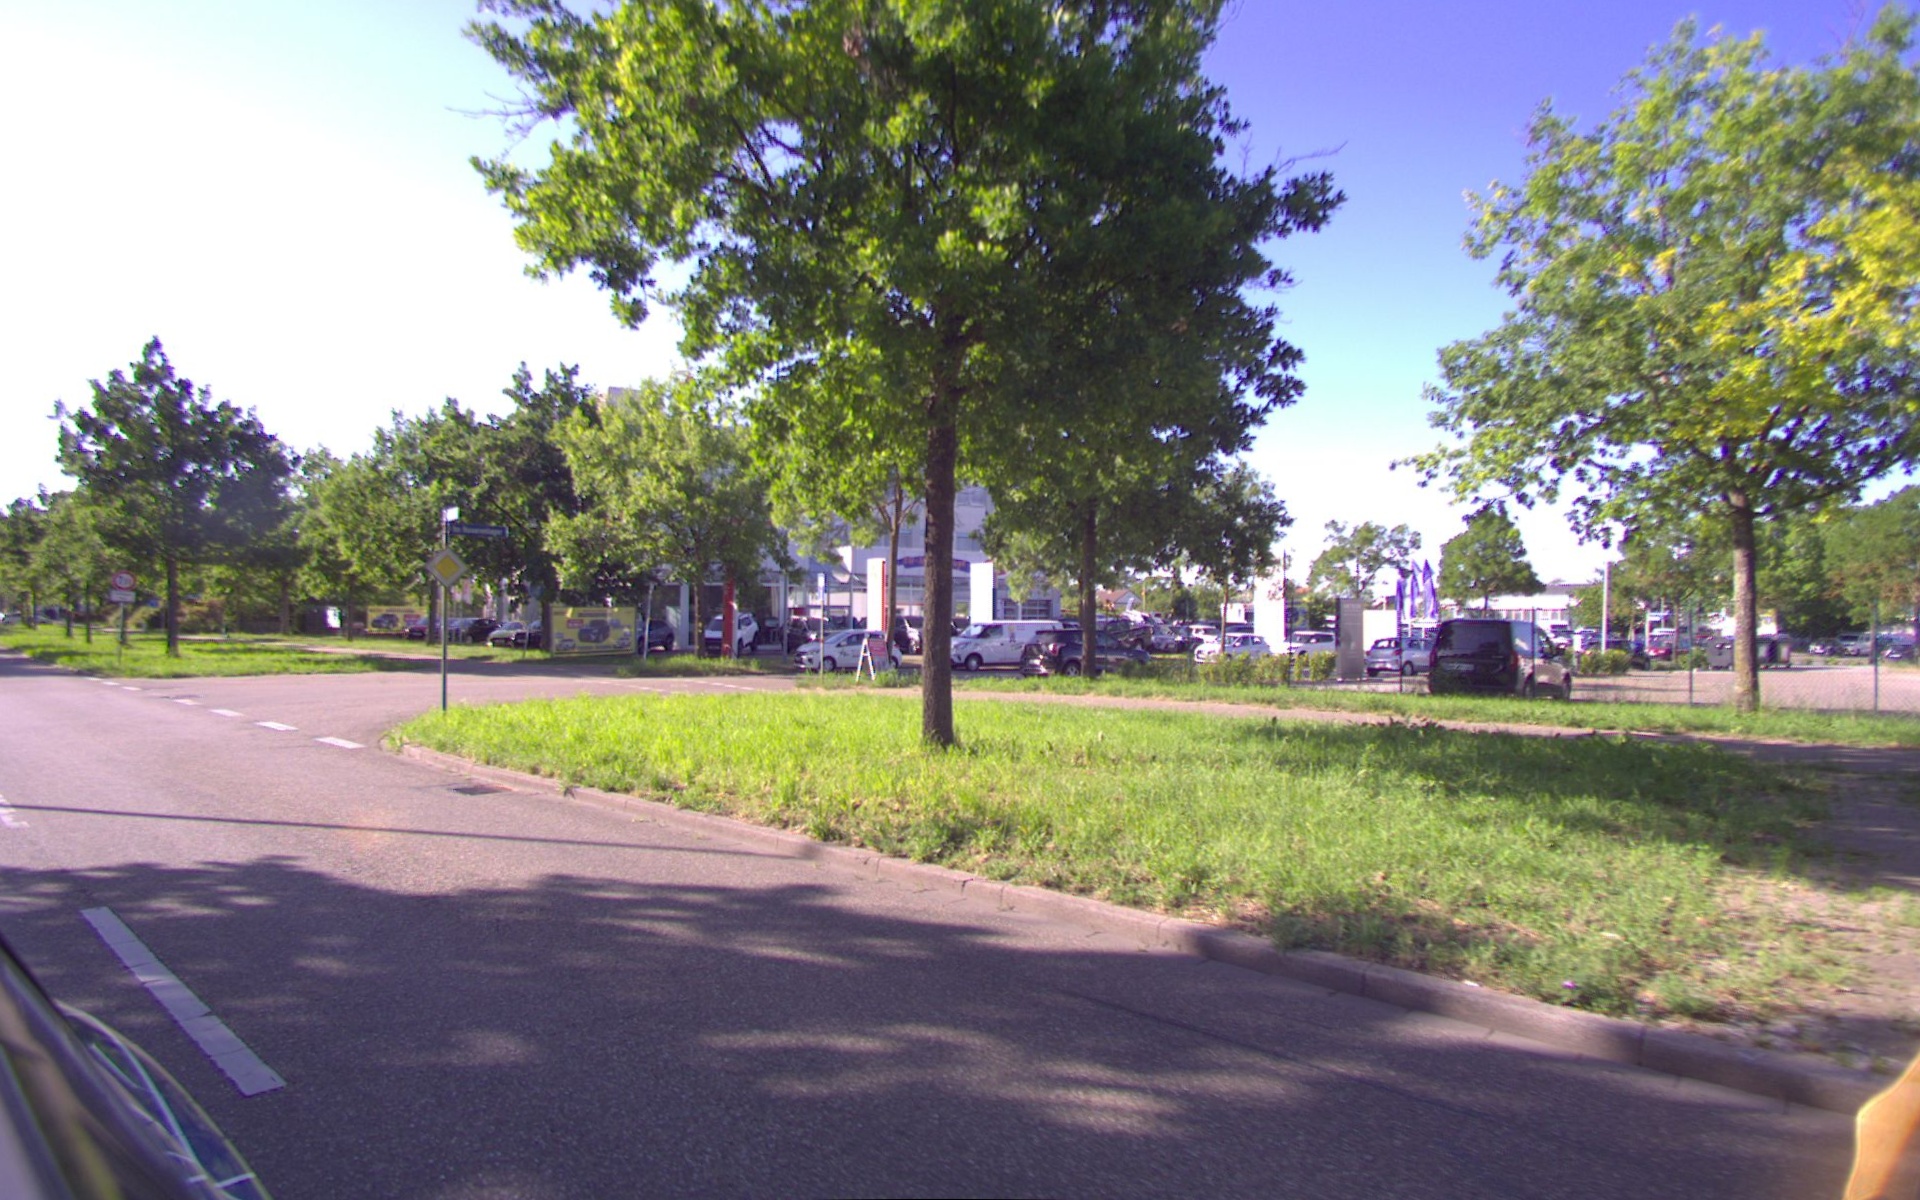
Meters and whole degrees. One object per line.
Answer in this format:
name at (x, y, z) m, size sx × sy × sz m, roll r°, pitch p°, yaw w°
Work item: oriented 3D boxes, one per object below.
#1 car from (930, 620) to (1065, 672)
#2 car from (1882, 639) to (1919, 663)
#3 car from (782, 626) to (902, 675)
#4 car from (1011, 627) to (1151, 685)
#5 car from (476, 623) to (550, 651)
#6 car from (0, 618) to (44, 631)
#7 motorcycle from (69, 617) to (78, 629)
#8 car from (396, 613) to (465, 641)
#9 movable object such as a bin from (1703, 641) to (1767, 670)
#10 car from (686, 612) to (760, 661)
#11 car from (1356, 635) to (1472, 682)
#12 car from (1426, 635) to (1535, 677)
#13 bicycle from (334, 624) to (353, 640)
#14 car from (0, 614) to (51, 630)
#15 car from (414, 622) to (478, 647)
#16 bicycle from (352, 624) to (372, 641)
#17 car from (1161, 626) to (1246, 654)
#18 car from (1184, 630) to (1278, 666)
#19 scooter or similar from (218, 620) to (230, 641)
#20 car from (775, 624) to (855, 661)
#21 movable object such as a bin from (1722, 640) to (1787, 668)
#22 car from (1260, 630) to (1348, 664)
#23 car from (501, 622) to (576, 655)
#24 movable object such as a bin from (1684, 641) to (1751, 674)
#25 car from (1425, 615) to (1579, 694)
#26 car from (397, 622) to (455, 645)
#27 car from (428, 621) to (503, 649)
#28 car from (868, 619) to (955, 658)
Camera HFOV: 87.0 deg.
car at (1.494, 1.746, 39.209) m, size 4.940 × 1.921 × 1.947 m, roll 1°, pitch -2°, yaw -30°
car at (62.612, 3.337, 66.400) m, size 3.930 × 1.523 × 1.807 m, roll 1°, pitch -2°, yaw -27°
car at (-4.132, 1.741, 35.497) m, size 3.691 × 1.630 × 1.969 m, roll 1°, pitch -2°, yaw -34°
car at (3.479, 1.551, 28.957) m, size 3.619 × 1.544 × 1.827 m, roll 1°, pitch -2°, yaw -32°
car at (-23.232, 1.895, 52.797) m, size 1.973 × 1.412 × 3.950 m, roll 0°, pitch -1°, yaw 2°
car at (-112.465, 2.919, 120.945) m, size 4.359 × 1.568 × 2.091 m, roll -1°, pitch -1°, yaw -42°
motorcycle at (-108.735, 2.836, 124.193) m, size 0.729 × 1.443 × 1.993 m, roll -3°, pitch 1°, yaw -43°
car at (-36.201, 1.853, 69.167) m, size 3.963 × 1.797 × 2.030 m, roll -1°, pitch -1°, yaw -35°
movable object such as a bin at (32.780, 2.340, 42.833) m, size 1.467 × 1.152 × 1.652 m, roll 1°, pitch -2°, yaw -28°
car at (-10.450, 1.590, 44.982) m, size 1.973 × 2.029 × 4.855 m, roll 0°, pitch -1°, yaw 2°
car at (16.888, 2.135, 37.634) m, size 3.930 × 1.588 × 1.807 m, roll 0°, pitch -2°, yaw -27°
car at (20.568, 2.193, 39.990) m, size 3.930 × 1.523 × 1.807 m, roll 0°, pitch -2°, yaw -27°
bicycle at (-41.959, 2.185, 68.919) m, size 1.892 × 1.096 × 0.632 m, roll -1°, pitch -2°, yaw 44°
car at (-98.071, 2.309, 105.661) m, size 2.191 × 1.570 × 4.576 m, roll -2°, pitch -1°, yaw 42°
car at (-31.400, 2.098, 61.959) m, size 1.776 × 1.459 × 3.998 m, roll 0°, pitch -1°, yaw 1°
bicycle at (-40.296, 2.180, 68.174) m, size 1.892 × 1.096 × 0.632 m, roll -1°, pitch -2°, yaw 44°
car at (14.542, 2.364, 60.722) m, size 1.967 × 1.574 × 4.883 m, roll 1°, pitch -2°, yaw -36°
car at (12.341, 2.172, 46.058) m, size 3.930 × 1.523 × 1.807 m, roll 0°, pitch -2°, yaw -27°
scooter or similar at (-46.949, 1.931, 64.583) m, size 0.390 × 1.289 × 1.442 m, roll 2°, pitch -2°, yaw -45°
car at (-6.706, 1.912, 46.471) m, size 1.967 × 1.583 × 4.180 m, roll 1°, pitch -2°, yaw -36°
movable object such as a bin at (34.217, 2.323, 43.578) m, size 1.661 × 1.152 × 1.652 m, roll 1°, pitch -2°, yaw -28°
car at (16.602, 2.247, 48.782) m, size 3.931 × 1.523 × 1.807 m, roll 0°, pitch -2°, yaw -29°
car at (-20.851, 1.872, 50.252) m, size 1.871 × 1.550 × 4.166 m, roll 0°, pitch -1°, yaw 2°
movable object such as a bin at (31.398, 2.363, 41.978) m, size 1.649 × 1.281 × 1.652 m, roll 1°, pitch -2°, yaw -28°
car at (11.546, 1.087, 21.430) m, size 1.940 × 1.490 × 4.453 m, roll -1°, pitch -2°, yaw 41°
car at (-33.982, 2.118, 64.532) m, size 1.774 × 1.459 × 4.003 m, roll 0°, pitch -1°, yaw -3°
car at (-29.037, 2.052, 59.550) m, size 1.784 × 1.523 × 3.980 m, roll -1°, pitch -2°, yaw 15°
car at (-2.445, 1.847, 49.398) m, size 1.967 × 1.826 × 4.884 m, roll 1°, pitch -2°, yaw -35°
